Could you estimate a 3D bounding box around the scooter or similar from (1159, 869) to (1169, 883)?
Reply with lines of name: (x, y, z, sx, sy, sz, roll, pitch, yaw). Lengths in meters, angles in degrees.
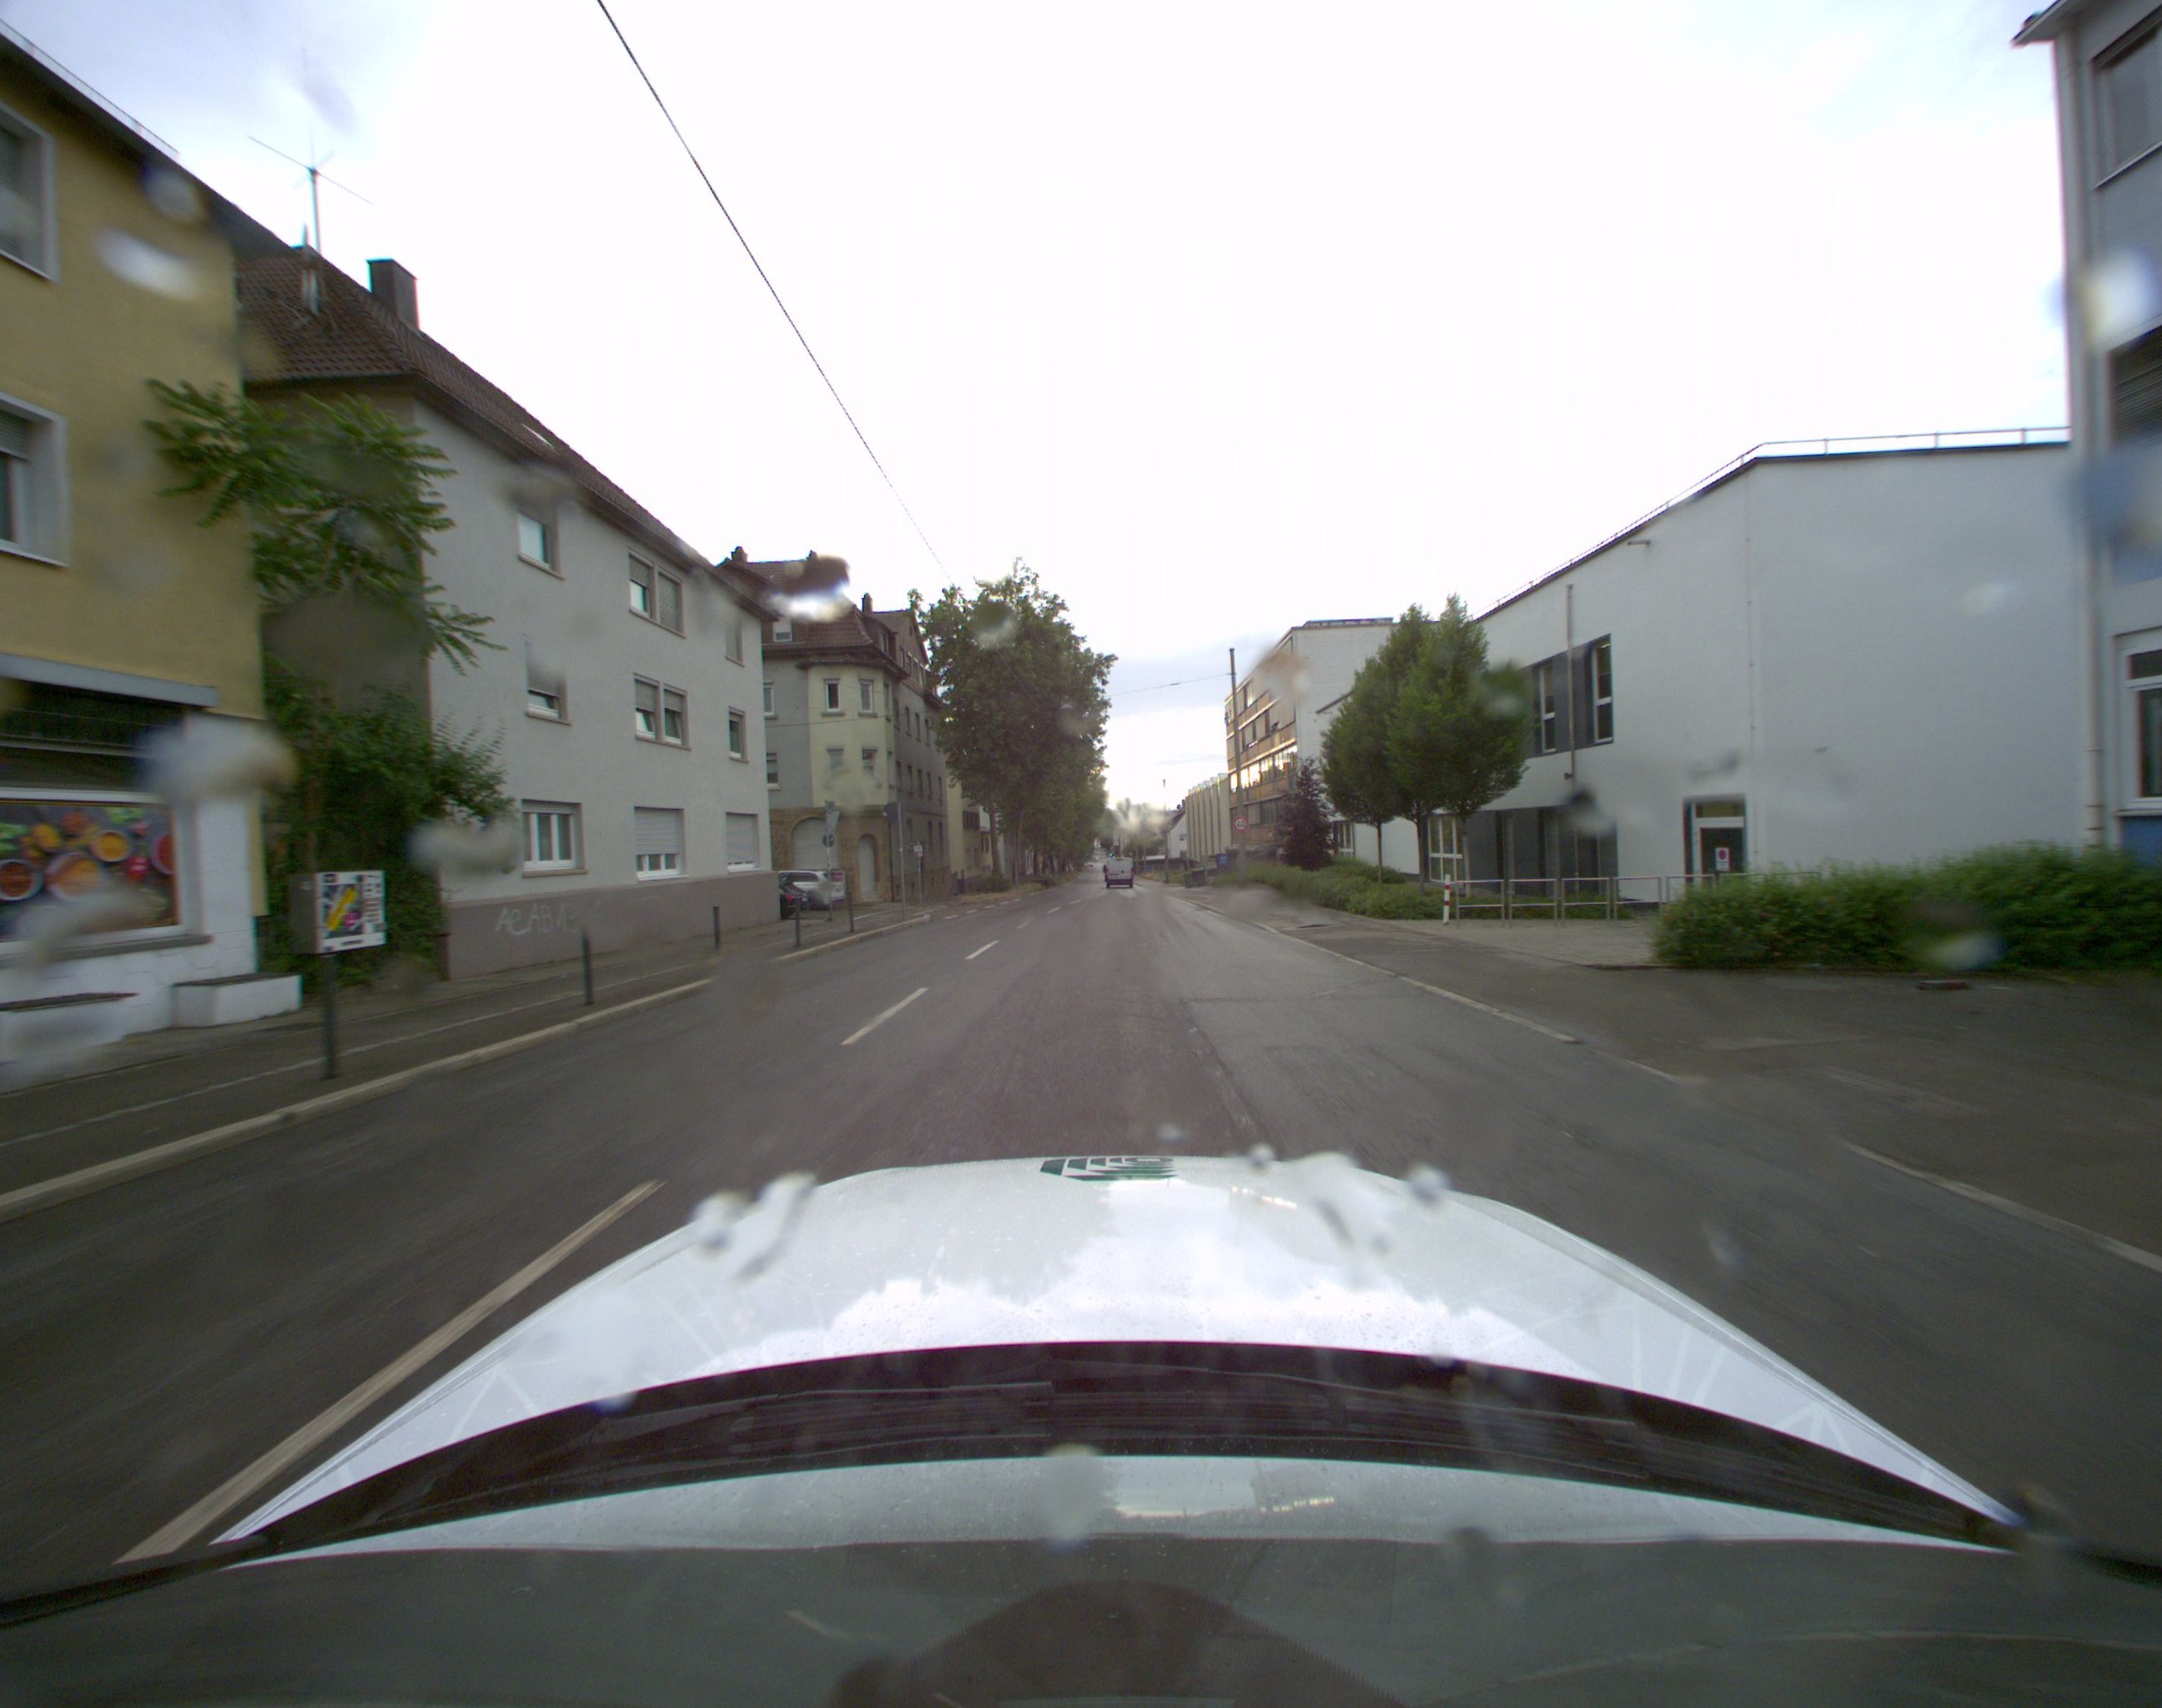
scooter or similar: (7.101, 1.843, 69.804, 0.603, 1.162, 1.698, -2, -1, -3)

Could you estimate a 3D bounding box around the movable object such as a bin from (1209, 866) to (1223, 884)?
movable object such as a bin: (8.463, 1.315, 51.082, 0.692, 1.082, 0.779, -5, -1, 2)

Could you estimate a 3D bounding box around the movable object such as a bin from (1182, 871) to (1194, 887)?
movable object such as a bin: (6.711, 1.557, 50.904, 0.617, 0.936, 0.686, -5, -1, 2)

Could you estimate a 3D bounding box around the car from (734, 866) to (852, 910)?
car: (-11.987, 1.394, 34.140, 4.167, 1.704, 2.001, 1, 0, 1)

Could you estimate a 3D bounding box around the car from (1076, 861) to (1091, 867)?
car: (0.661, 2.706, 229.690, 1.974, 1.577, 4.025, -2, -1, 42)

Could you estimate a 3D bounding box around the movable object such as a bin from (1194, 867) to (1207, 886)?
movable object such as a bin: (7.491, 1.409, 51.049, 0.692, 1.082, 0.779, -5, -1, 2)

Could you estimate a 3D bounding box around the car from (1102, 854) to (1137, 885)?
car: (2.884, 1.145, 62.625, 2.339, 2.160, 4.776, -3, 1, 0)

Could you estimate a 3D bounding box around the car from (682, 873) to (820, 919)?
car: (-11.493, 1.455, 28.604, 3.973, 1.453, 2.000, 1, 0, 1)
